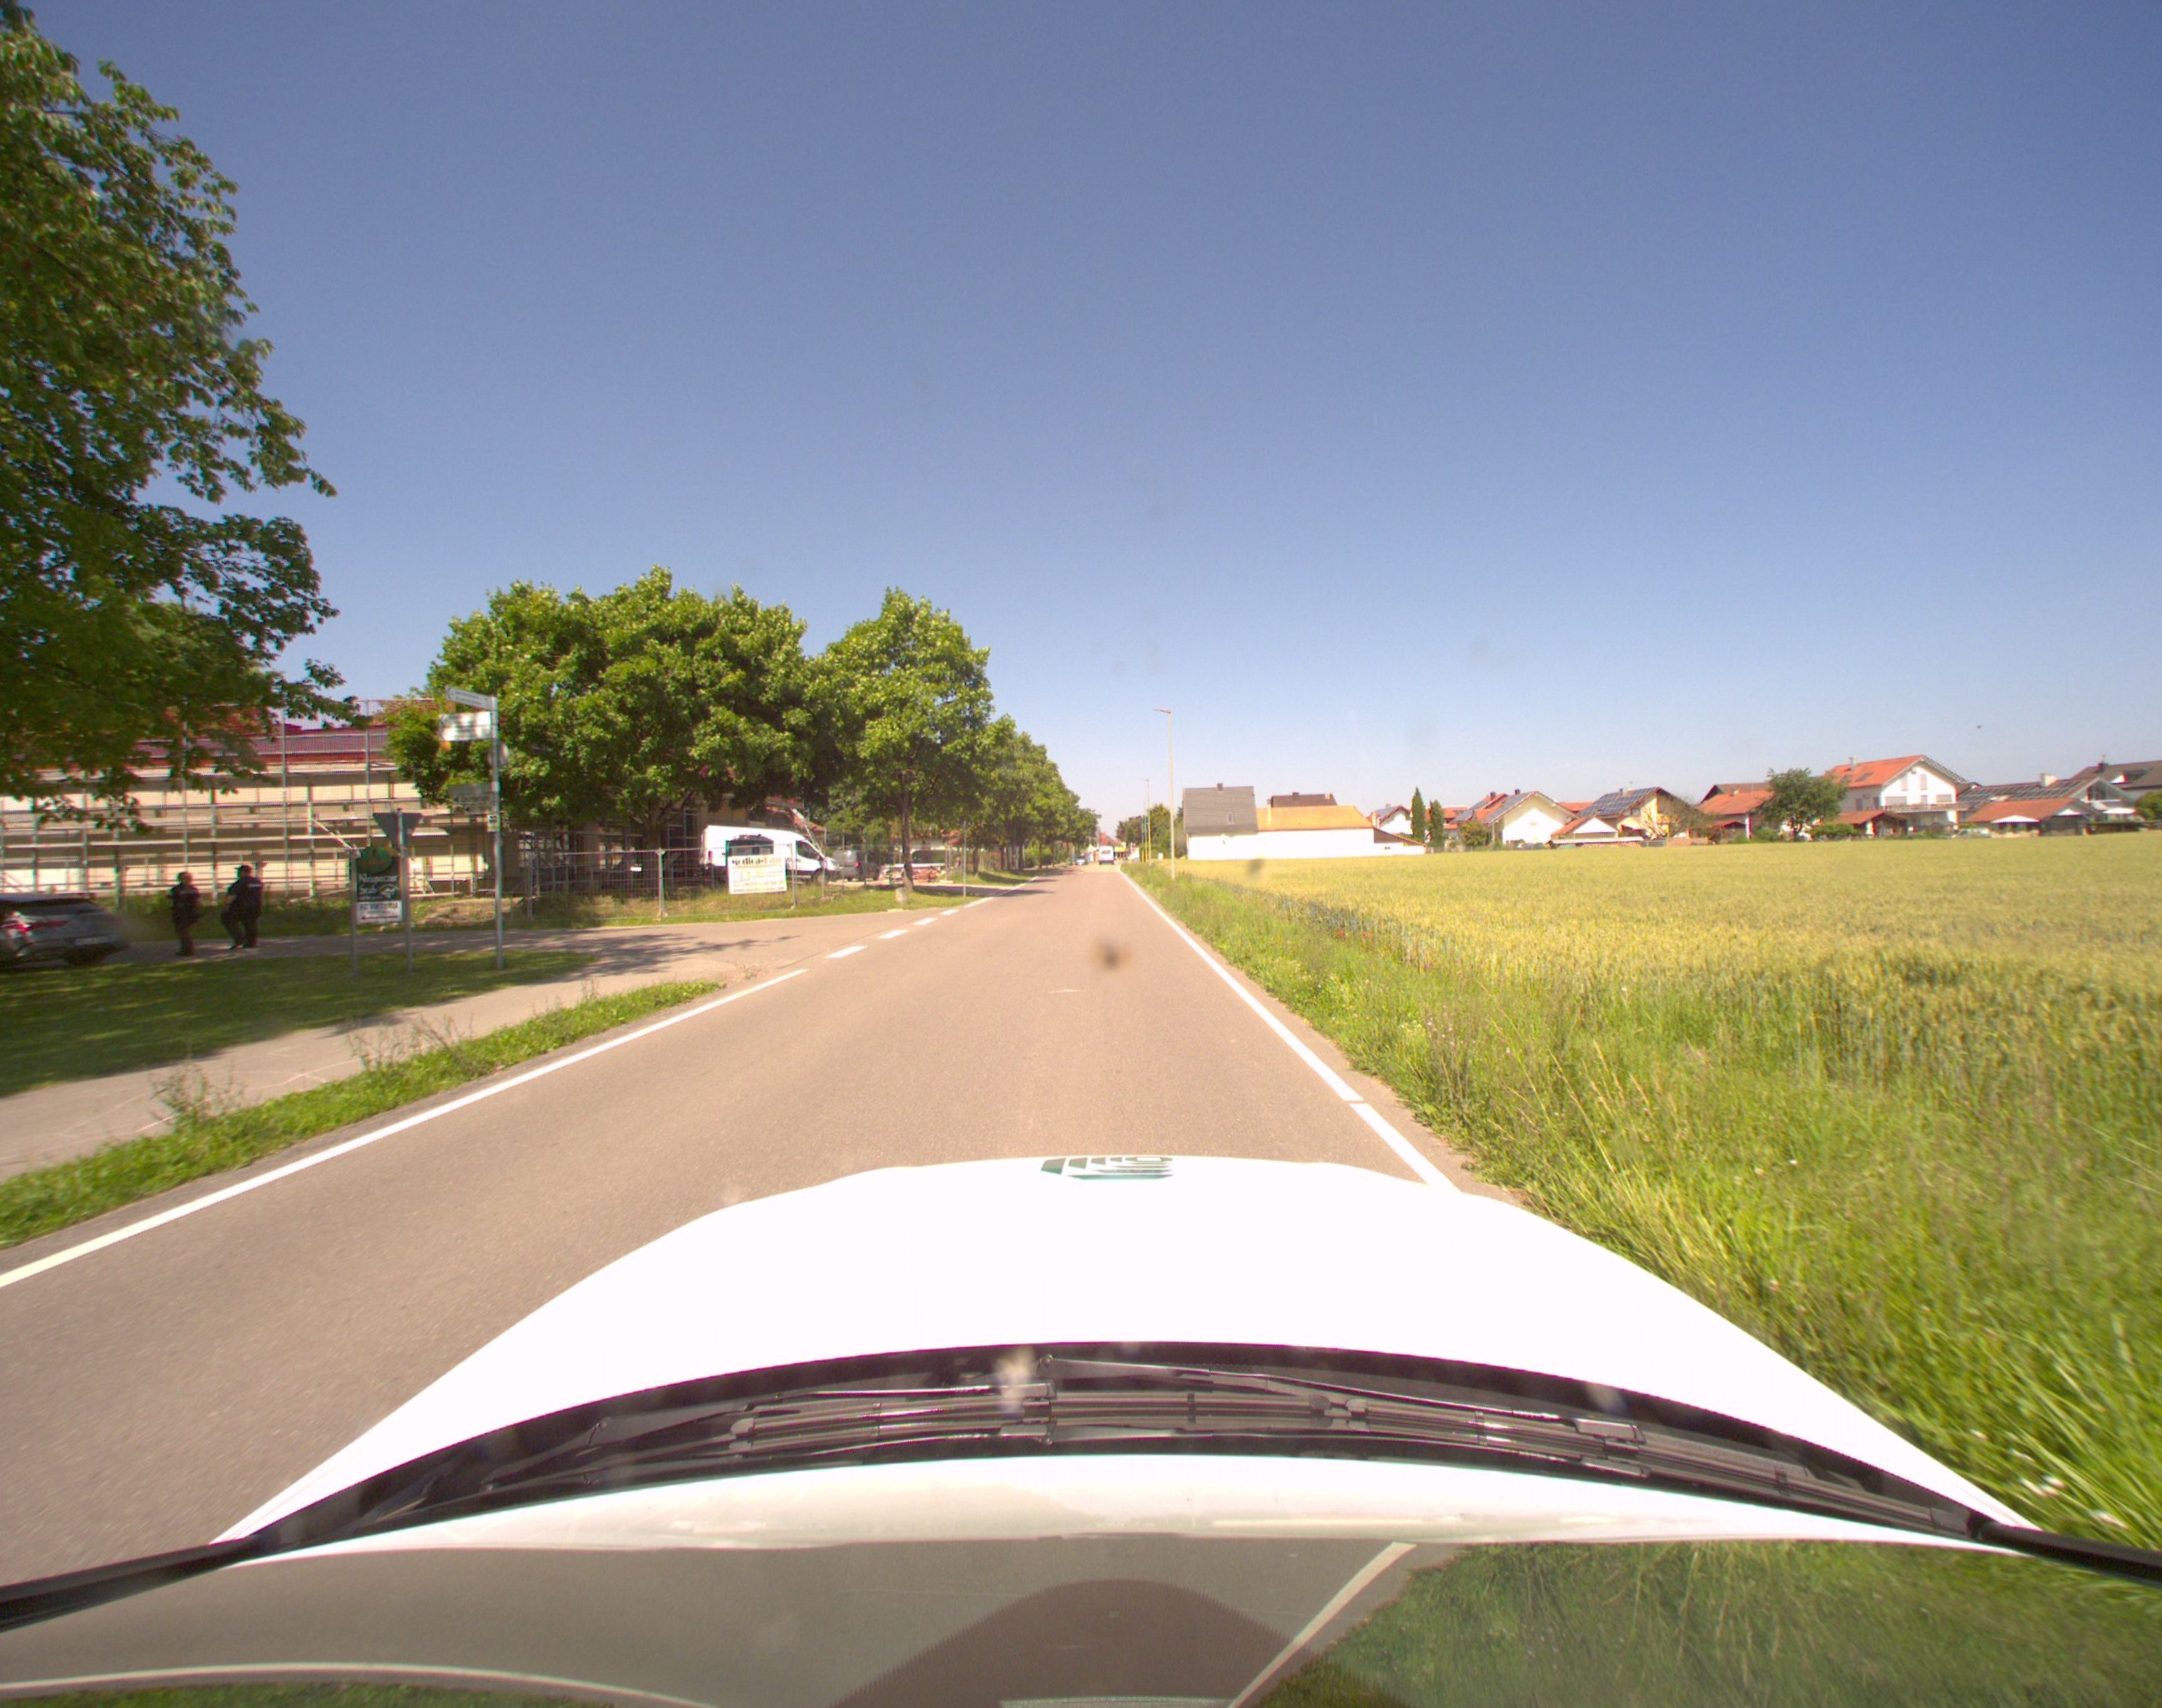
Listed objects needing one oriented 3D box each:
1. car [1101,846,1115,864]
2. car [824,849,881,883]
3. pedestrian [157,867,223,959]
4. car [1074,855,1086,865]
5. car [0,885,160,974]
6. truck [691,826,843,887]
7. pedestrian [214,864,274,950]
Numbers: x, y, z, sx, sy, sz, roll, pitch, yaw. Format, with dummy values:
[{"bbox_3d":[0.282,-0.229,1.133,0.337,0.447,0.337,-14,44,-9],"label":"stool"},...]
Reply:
[{"bbox_3d":[3.764,0.127,112.555,1.730,2.432,4.379,-2,0,4],"label":"car"},{"bbox_3d":[-13.206,0.671,47.291,1.963,1.838,4.329,-1,0,1],"label":"car"},{"bbox_3d":[-17.628,1.144,16.118,0.603,1.751,0.585,-2,0,-8],"label":"pedestrian"},{"bbox_3d":[-0.136,0.894,120.788,1.641,1.423,4.081,-4,0,2],"label":"car"},{"bbox_3d":[-19.368,1.363,14.430,3.795,1.399,1.755,-2,0,-6],"label":"car"},{"bbox_3d":[-13.803,0.073,36.016,5.958,2.484,1.978,-1,-1,-36],"label":"truck"},{"bbox_3d":[-17.454,1.088,16.992,0.603,1.751,0.585,-2,0,-8],"label":"pedestrian"}]
